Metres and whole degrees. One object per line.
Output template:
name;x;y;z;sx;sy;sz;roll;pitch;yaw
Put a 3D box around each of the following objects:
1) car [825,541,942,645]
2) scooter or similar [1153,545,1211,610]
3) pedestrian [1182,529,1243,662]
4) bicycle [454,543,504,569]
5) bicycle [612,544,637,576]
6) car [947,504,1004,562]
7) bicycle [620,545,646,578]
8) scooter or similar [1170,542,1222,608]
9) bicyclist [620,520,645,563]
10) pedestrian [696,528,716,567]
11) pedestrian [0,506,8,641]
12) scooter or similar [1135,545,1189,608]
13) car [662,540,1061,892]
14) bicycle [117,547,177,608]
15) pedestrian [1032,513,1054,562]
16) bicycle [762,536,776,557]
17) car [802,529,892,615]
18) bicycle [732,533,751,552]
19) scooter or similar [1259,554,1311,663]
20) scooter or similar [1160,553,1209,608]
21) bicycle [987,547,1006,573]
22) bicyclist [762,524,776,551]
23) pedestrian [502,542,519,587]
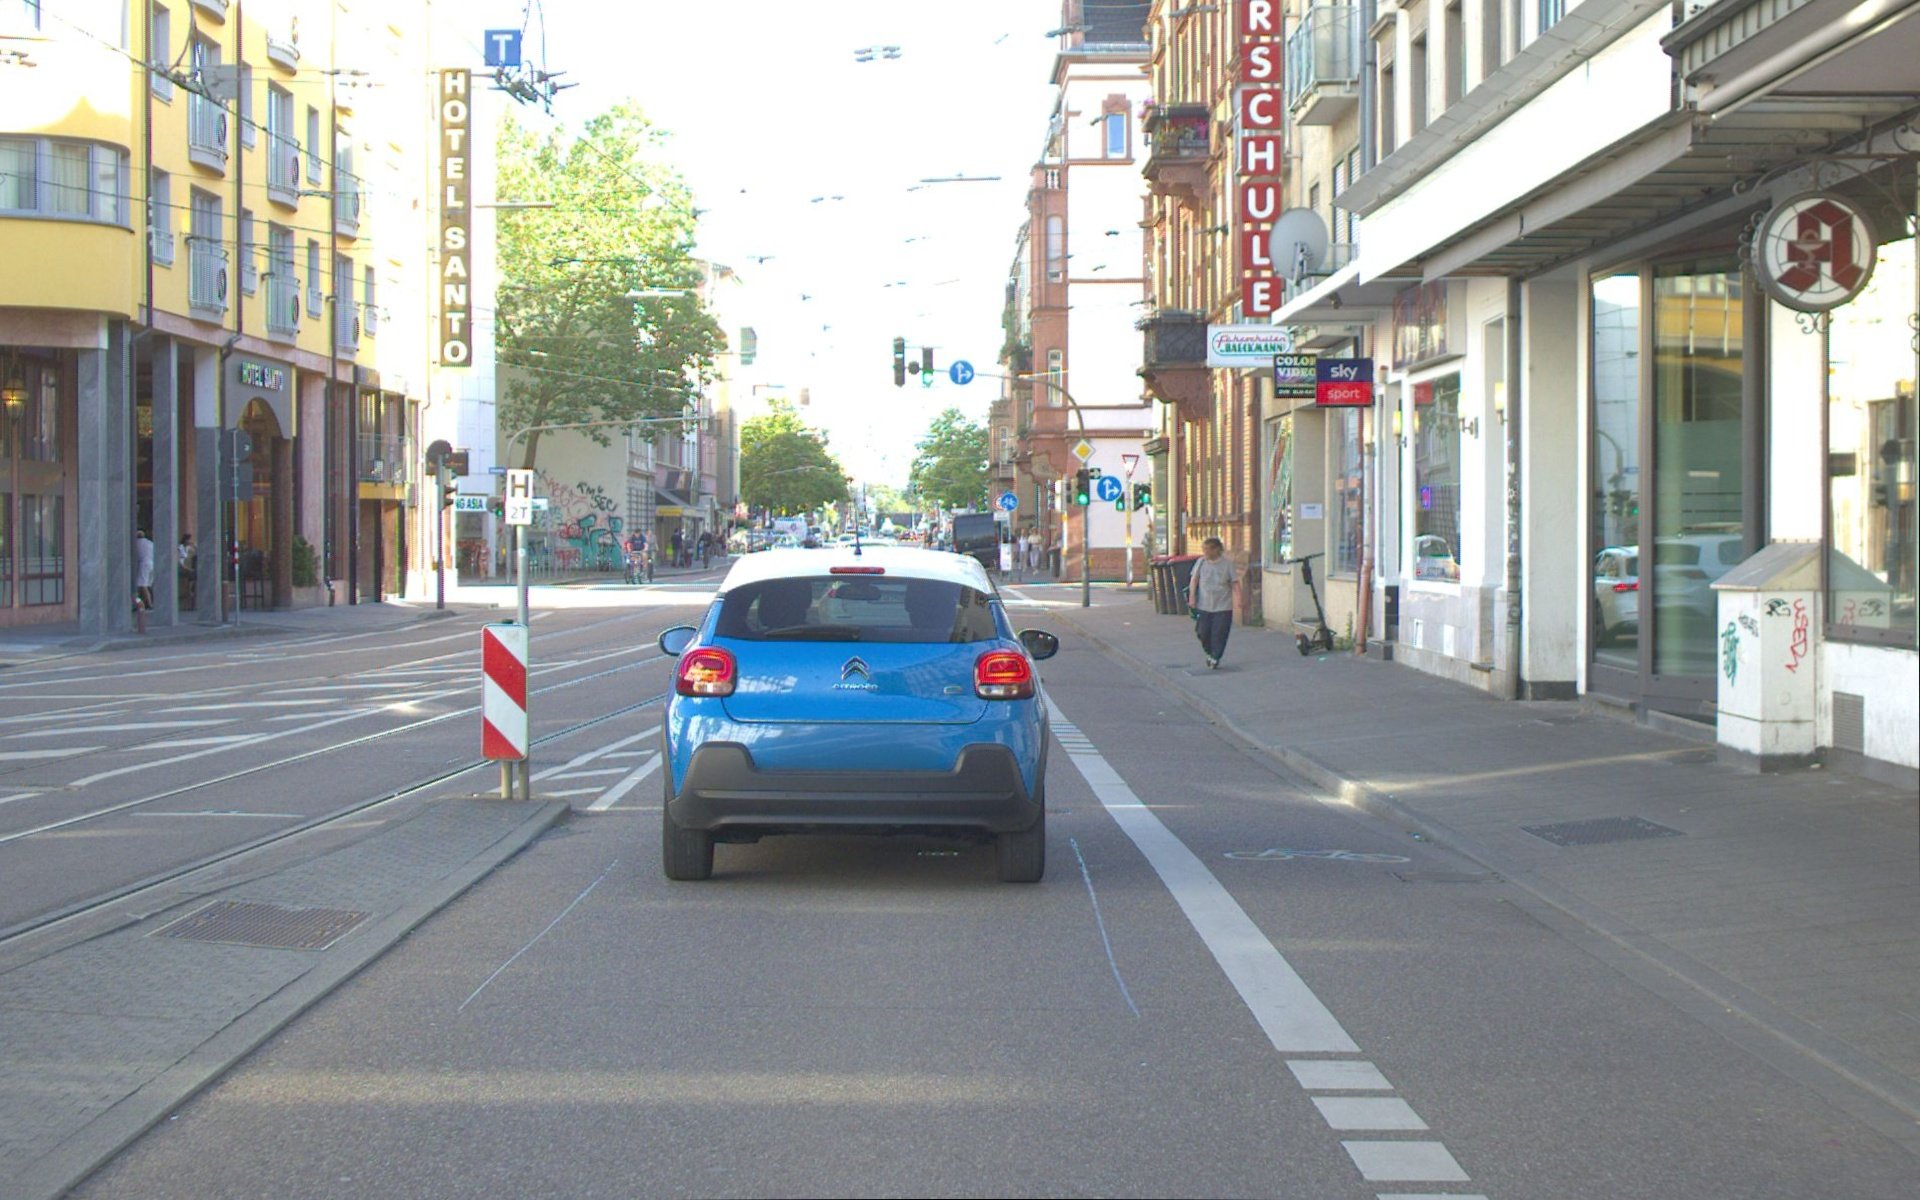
car;-1.154;-0.135;51.203;1.667;1.473;4.001;0;1;-2
scooter or similar;4.165;-0.423;64.540;0.933;1.144;0.650;-4;1;-2
pedestrian;2.992;-0.059;40.787;0.648;1.555;0.781;0;1;-2
bicycle;-19.305;-1.767;137.933;1.918;1.031;0.664;1;1;26
bicycle;-11.613;-1.390;118.940;0.730;1.062;2.062;0;1;-2
car;0.627;-2.834;145.682;2.271;2.428;5.720;0;1;-1
bicycle;-10.718;-1.269;112.590;0.730;1.084;2.062;0;1;-2
scooter or similar;4.322;-0.468;62.962;0.790;1.144;0.790;-4;1;-2
bicyclist;-10.695;-1.918;112.285;0.724;1.376;1.228;1;2;-2
pedestrian;-11.625;-2.409;157.238;0.682;1.759;1.025;0;1;10
pedestrian;-14.120;-0.378;49.517;0.637;1.940;0.709;0;1;-2
scooter or similar;3.847;-0.450;65.471;0.897;1.144;0.547;-4;1;-2
car;-0.417;0.453;16.463;1.674;1.472;4.000;0;1;0
bicycle;-16.290;-0.462;68.911;0.581;1.198;2.080;0;1;4
pedestrian;3.087;-2.324;128.272;0.705;1.776;0.673;2;0;-3
bicycle;-10.261;-2.862;185.023;0.692;1.116;2.084;0;1;-2
car;-2.697;-0.704;82.679;1.993;2.007;4.000;0;1;0
bicycle;-15.090;-3.984;237.294;1.120;1.315;3.645;0;1;-6
scooter or similar;3.893;0.093;41.159;0.410;1.277;1.283;0;1;15
scooter or similar;4.174;-0.365;63.903;0.790;0.954;0.680;-4;1;-2
bicycle;1.323;-1.473;125.430;0.431;0.944;1.764;0;1;-8
bicyclist;-10.265;-3.355;184.860;0.682;1.478;0.778;0;1;-2
pedestrian;-15.635;-1.224;119.559;0.542;1.547;0.516;0;1;-2
